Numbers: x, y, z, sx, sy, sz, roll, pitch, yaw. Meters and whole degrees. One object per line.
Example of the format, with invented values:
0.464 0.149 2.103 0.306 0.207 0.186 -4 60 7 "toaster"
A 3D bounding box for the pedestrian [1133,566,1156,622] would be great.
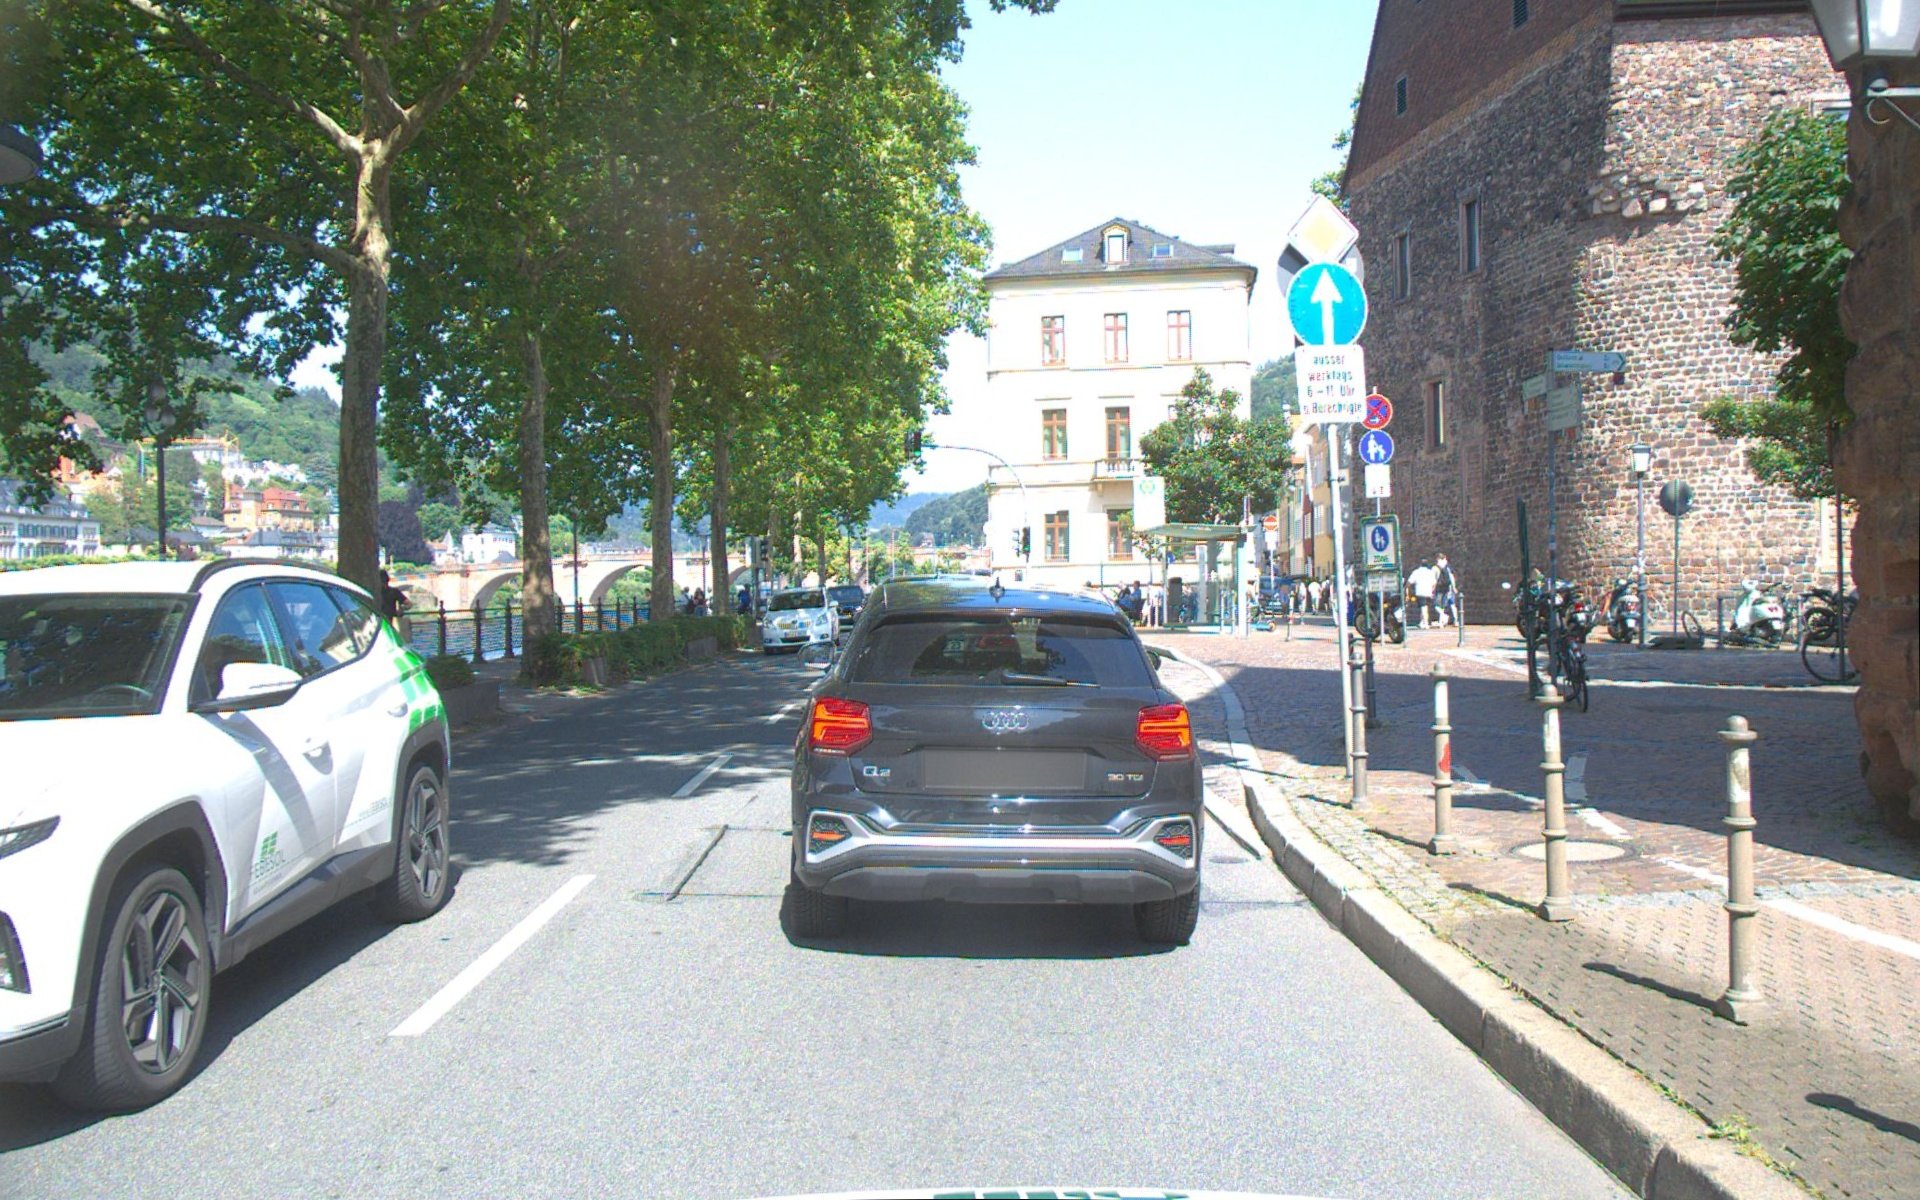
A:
6.813 -0.228 61.162 0.626 2.049 0.665 0 -1 29 "pedestrian"

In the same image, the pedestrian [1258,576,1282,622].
13.893 -0.049 74.161 0.925 2.049 0.807 1 -1 -1 "pedestrian"

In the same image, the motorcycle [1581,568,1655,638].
12.339 0.065 31.060 0.535 1.257 2.030 1 0 -1 "motorcycle"

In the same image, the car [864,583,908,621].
-3.706 0.116 83.593 1.952 1.838 4.000 1 0 1 "car"

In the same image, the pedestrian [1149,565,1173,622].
7.372 -0.237 60.680 0.626 2.049 0.665 0 -1 29 "pedestrian"

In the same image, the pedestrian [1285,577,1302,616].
13.543 -0.151 67.183 0.609 1.558 0.466 1 -1 1 "pedestrian"

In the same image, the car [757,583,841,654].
-4.071 0.421 42.329 1.703 1.599 4.091 -4 1 -1 "car"

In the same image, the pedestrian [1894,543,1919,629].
18.892 -0.281 32.542 0.791 1.691 0.656 -1 0 23 "pedestrian"

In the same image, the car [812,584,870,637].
-4.433 0.357 62.213 1.777 1.754 4.421 -6 1 -1 "car"

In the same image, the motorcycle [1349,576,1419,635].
7.694 0.085 30.124 0.555 1.030 2.489 -1 0 -2 "motorcycle"

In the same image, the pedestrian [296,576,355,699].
-9.025 0.517 23.530 0.589 1.715 0.583 -1 0 -2 "pedestrian"

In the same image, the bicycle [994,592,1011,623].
1.557 0.264 60.406 0.428 1.105 1.675 1 0 -5 "bicycle"

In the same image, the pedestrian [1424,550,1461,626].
13.167 -0.329 45.144 0.715 2.049 0.878 1 -1 -1 "pedestrian"

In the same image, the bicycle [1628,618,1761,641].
12.281 0.490 27.714 1.887 0.388 0.918 0 -1 14 "bicycle"

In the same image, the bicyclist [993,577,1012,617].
1.549 -0.108 60.518 0.593 1.475 0.590 1 -1 -6 "bicyclist"

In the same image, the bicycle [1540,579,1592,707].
6.162 0.405 16.860 0.189 1.225 1.771 0 1 10 "bicycle"

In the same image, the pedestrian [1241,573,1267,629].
7.568 0.030 42.587 0.546 1.409 0.588 1 -1 1 "pedestrian"

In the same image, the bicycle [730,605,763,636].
-7.197 0.678 55.709 1.072 1.024 0.303 1 -1 -8 "bicycle"

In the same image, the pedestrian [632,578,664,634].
-10.325 0.206 54.682 0.891 1.843 0.586 1 0 3 "pedestrian"

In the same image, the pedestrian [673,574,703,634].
-9.495 0.145 57.745 0.891 2.049 0.586 1 -1 3 "pedestrian"

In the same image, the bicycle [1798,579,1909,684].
10.645 0.349 19.760 0.437 1.182 1.731 -1 1 3 "bicycle"

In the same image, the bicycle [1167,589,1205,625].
6.701 0.207 49.032 1.184 1.053 0.178 1 -1 -20 "bicycle"

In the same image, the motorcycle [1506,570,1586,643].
10.655 0.122 30.137 0.642 1.288 2.199 0 0 -1 "motorcycle"

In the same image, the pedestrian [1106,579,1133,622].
4.722 0.030 48.963 0.651 1.253 0.640 1 -1 -7 "pedestrian"

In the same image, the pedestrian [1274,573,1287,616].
13.010 -0.224 67.194 0.440 1.710 0.466 1 -1 1 "pedestrian"

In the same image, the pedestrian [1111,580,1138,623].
4.789 0.052 48.166 0.651 1.233 0.640 1 -1 -7 "pedestrian"

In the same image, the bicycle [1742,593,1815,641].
15.128 0.300 30.612 0.346 0.835 1.926 1 1 -2 "bicycle"

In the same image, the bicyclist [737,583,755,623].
-7.192 0.089 55.722 0.555 1.334 0.551 1 -1 -5 "bicyclist"

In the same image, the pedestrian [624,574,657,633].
-10.316 0.124 53.478 0.891 1.877 0.586 1 -1 3 "pedestrian"

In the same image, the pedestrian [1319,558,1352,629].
10.341 -0.167 45.525 0.732 1.923 0.752 1 -1 1 "pedestrian"

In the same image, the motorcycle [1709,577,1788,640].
14.055 0.155 29.538 0.496 1.092 1.839 1 0 -1 "motorcycle"

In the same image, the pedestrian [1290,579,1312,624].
15.745 0.080 76.327 0.822 2.049 0.738 1 -1 -1 "pedestrian"

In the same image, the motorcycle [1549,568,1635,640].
11.572 0.076 30.377 0.661 1.257 2.312 1 0 -1 "motorcycle"

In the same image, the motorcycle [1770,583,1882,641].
16.448 0.229 31.427 1.826 1.072 0.480 1 -1 7 "motorcycle"

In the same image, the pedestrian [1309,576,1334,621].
16.647 -0.076 76.173 0.921 2.049 0.807 1 -1 -1 "pedestrian"

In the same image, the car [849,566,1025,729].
-0.255 0.473 18.496 1.756 1.623 3.398 1 0 -1 "car"

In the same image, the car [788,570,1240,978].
0.183 0.646 8.151 1.707 1.535 3.646 1 1 -1 "car"

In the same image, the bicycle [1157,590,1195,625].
6.495 0.230 49.673 1.166 1.033 0.178 1 -1 -20 "bicycle"

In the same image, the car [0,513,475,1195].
-3.249 0.673 6.068 1.733 1.689 3.999 -4 0 -1 "car"

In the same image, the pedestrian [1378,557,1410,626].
11.746 -0.231 44.781 0.639 1.834 0.847 0 0 -2 "pedestrian"

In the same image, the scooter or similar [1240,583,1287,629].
7.234 0.136 39.436 1.067 1.084 0.323 1 -1 -3 "scooter or similar"

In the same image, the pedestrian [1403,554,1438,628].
12.077 -0.242 43.419 0.655 1.917 0.821 1 -1 -2 "pedestrian"

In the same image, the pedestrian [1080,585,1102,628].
4.673 0.235 58.855 0.679 1.526 0.513 1 -1 -5 "pedestrian"

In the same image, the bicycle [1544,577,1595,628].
14.906 0.060 40.496 0.381 1.230 1.715 1 0 -9 "bicycle"

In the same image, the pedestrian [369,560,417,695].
-8.122 0.391 23.692 0.523 1.920 0.436 0 0 -1 "pedestrian"

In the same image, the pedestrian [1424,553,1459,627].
12.822 -0.267 44.037 0.655 1.954 0.821 1 -1 -2 "pedestrian"
